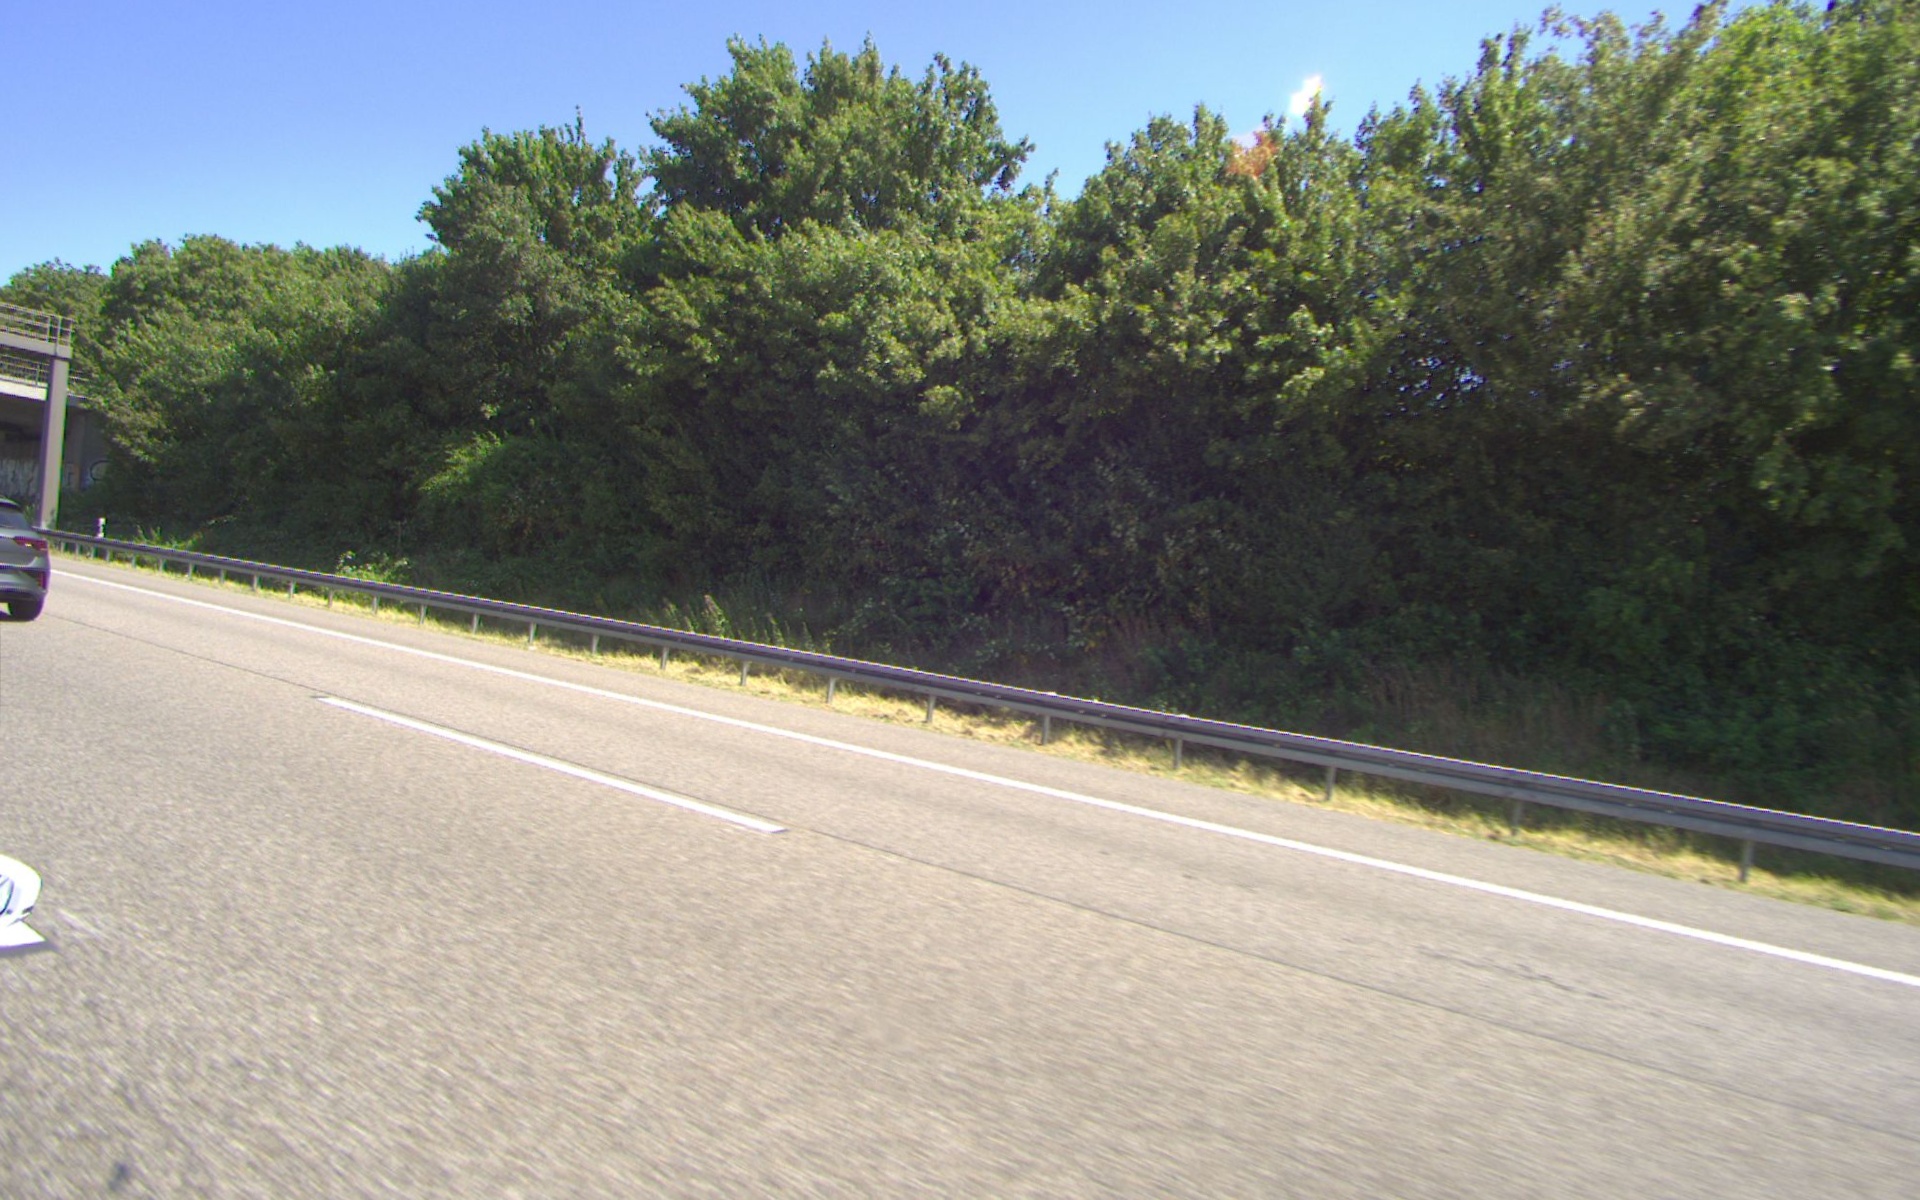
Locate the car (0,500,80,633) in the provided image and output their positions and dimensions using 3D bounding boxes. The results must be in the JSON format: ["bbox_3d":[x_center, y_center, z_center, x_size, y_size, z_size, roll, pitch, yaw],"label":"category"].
[{"bbox_3d":[-13.637,-0.671,13.057,4.680,1.550,1.903,7,-1,31],"label":"car"}]
